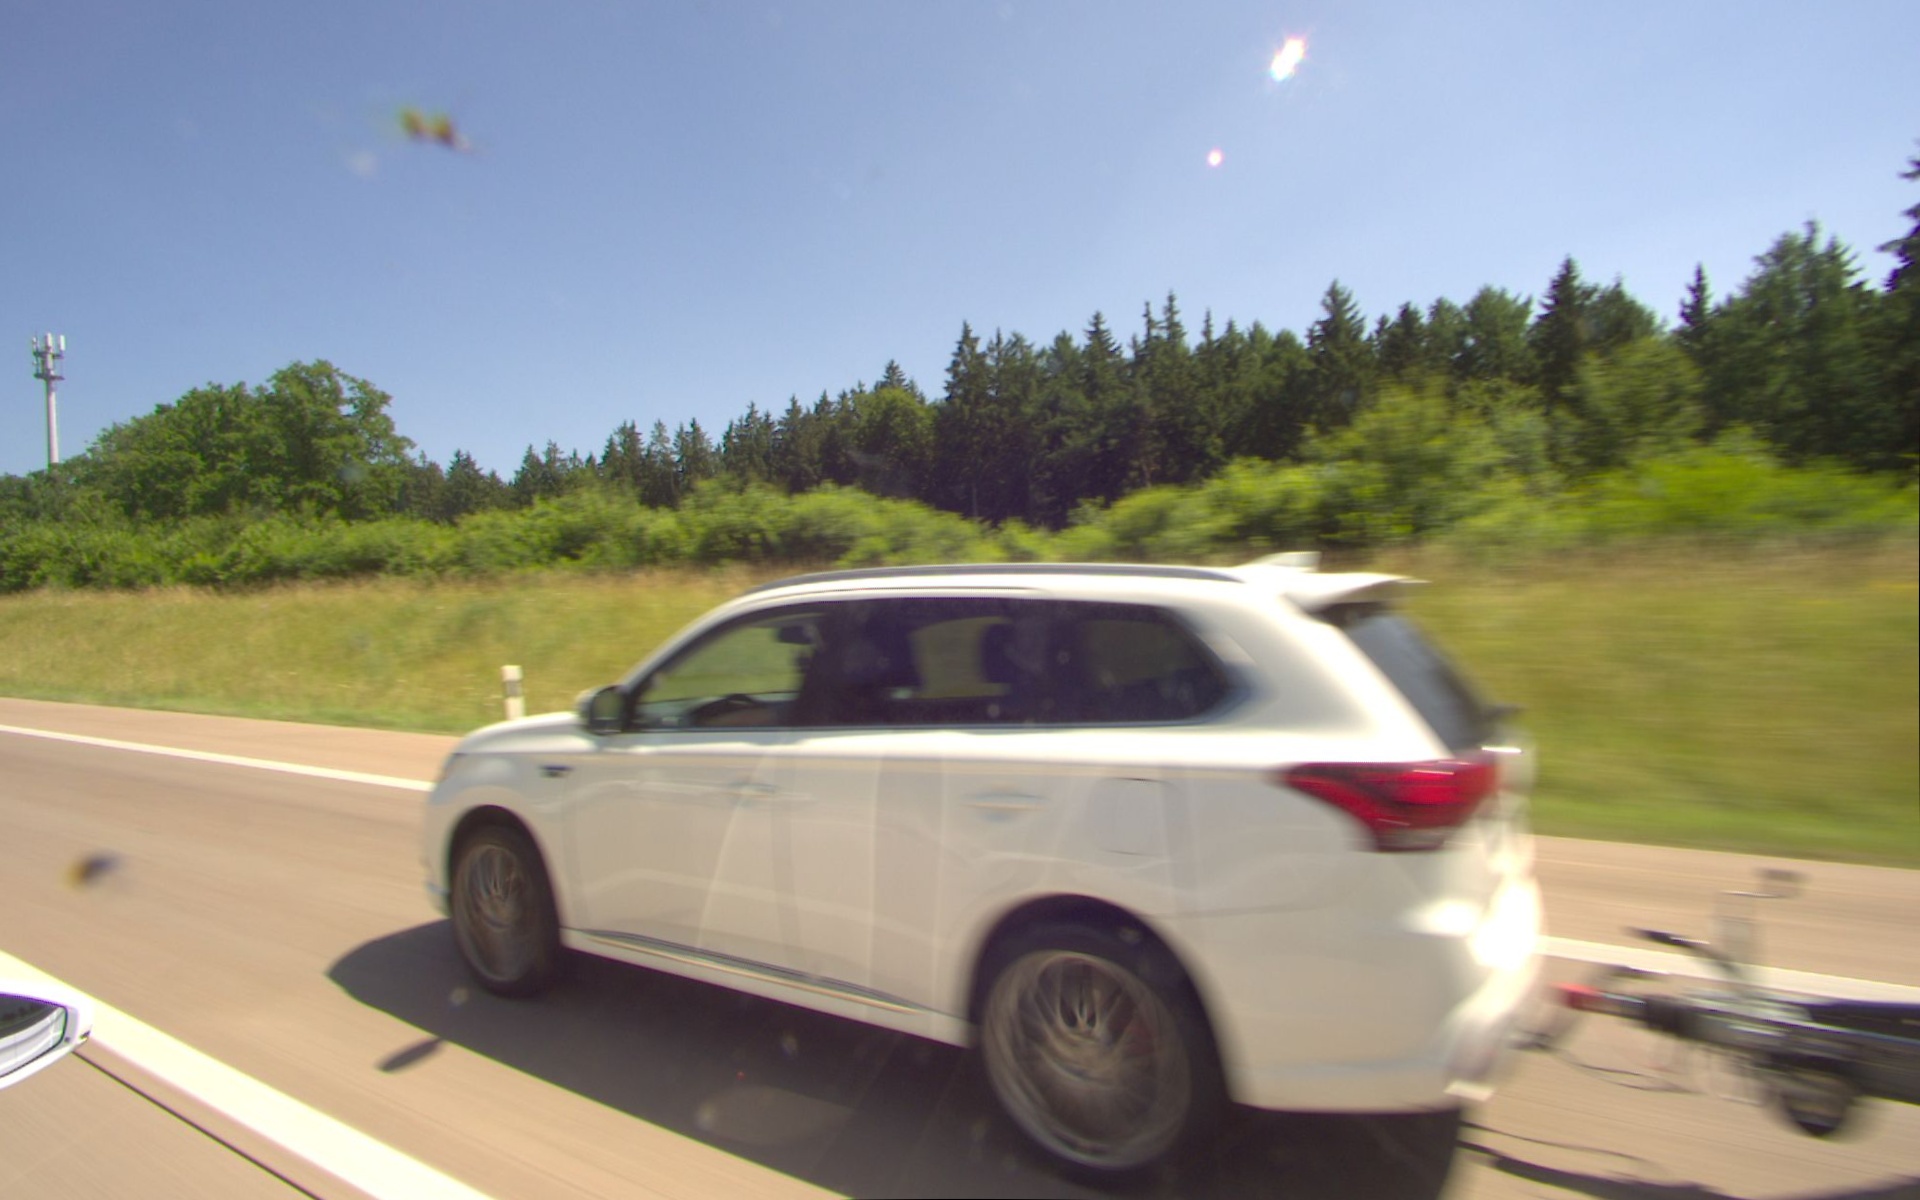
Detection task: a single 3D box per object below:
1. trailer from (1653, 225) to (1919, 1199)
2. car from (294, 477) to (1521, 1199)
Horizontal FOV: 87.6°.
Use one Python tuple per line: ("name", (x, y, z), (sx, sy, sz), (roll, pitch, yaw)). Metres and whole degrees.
("trailer", (3.619, 0.409, 1.662), (3.958, 2.192, 1.655), (0, -1, 32))
("car", (-0.586, 0.691, 4.277), (5.113, 1.750, 1.887), (-1, -1, 33))
